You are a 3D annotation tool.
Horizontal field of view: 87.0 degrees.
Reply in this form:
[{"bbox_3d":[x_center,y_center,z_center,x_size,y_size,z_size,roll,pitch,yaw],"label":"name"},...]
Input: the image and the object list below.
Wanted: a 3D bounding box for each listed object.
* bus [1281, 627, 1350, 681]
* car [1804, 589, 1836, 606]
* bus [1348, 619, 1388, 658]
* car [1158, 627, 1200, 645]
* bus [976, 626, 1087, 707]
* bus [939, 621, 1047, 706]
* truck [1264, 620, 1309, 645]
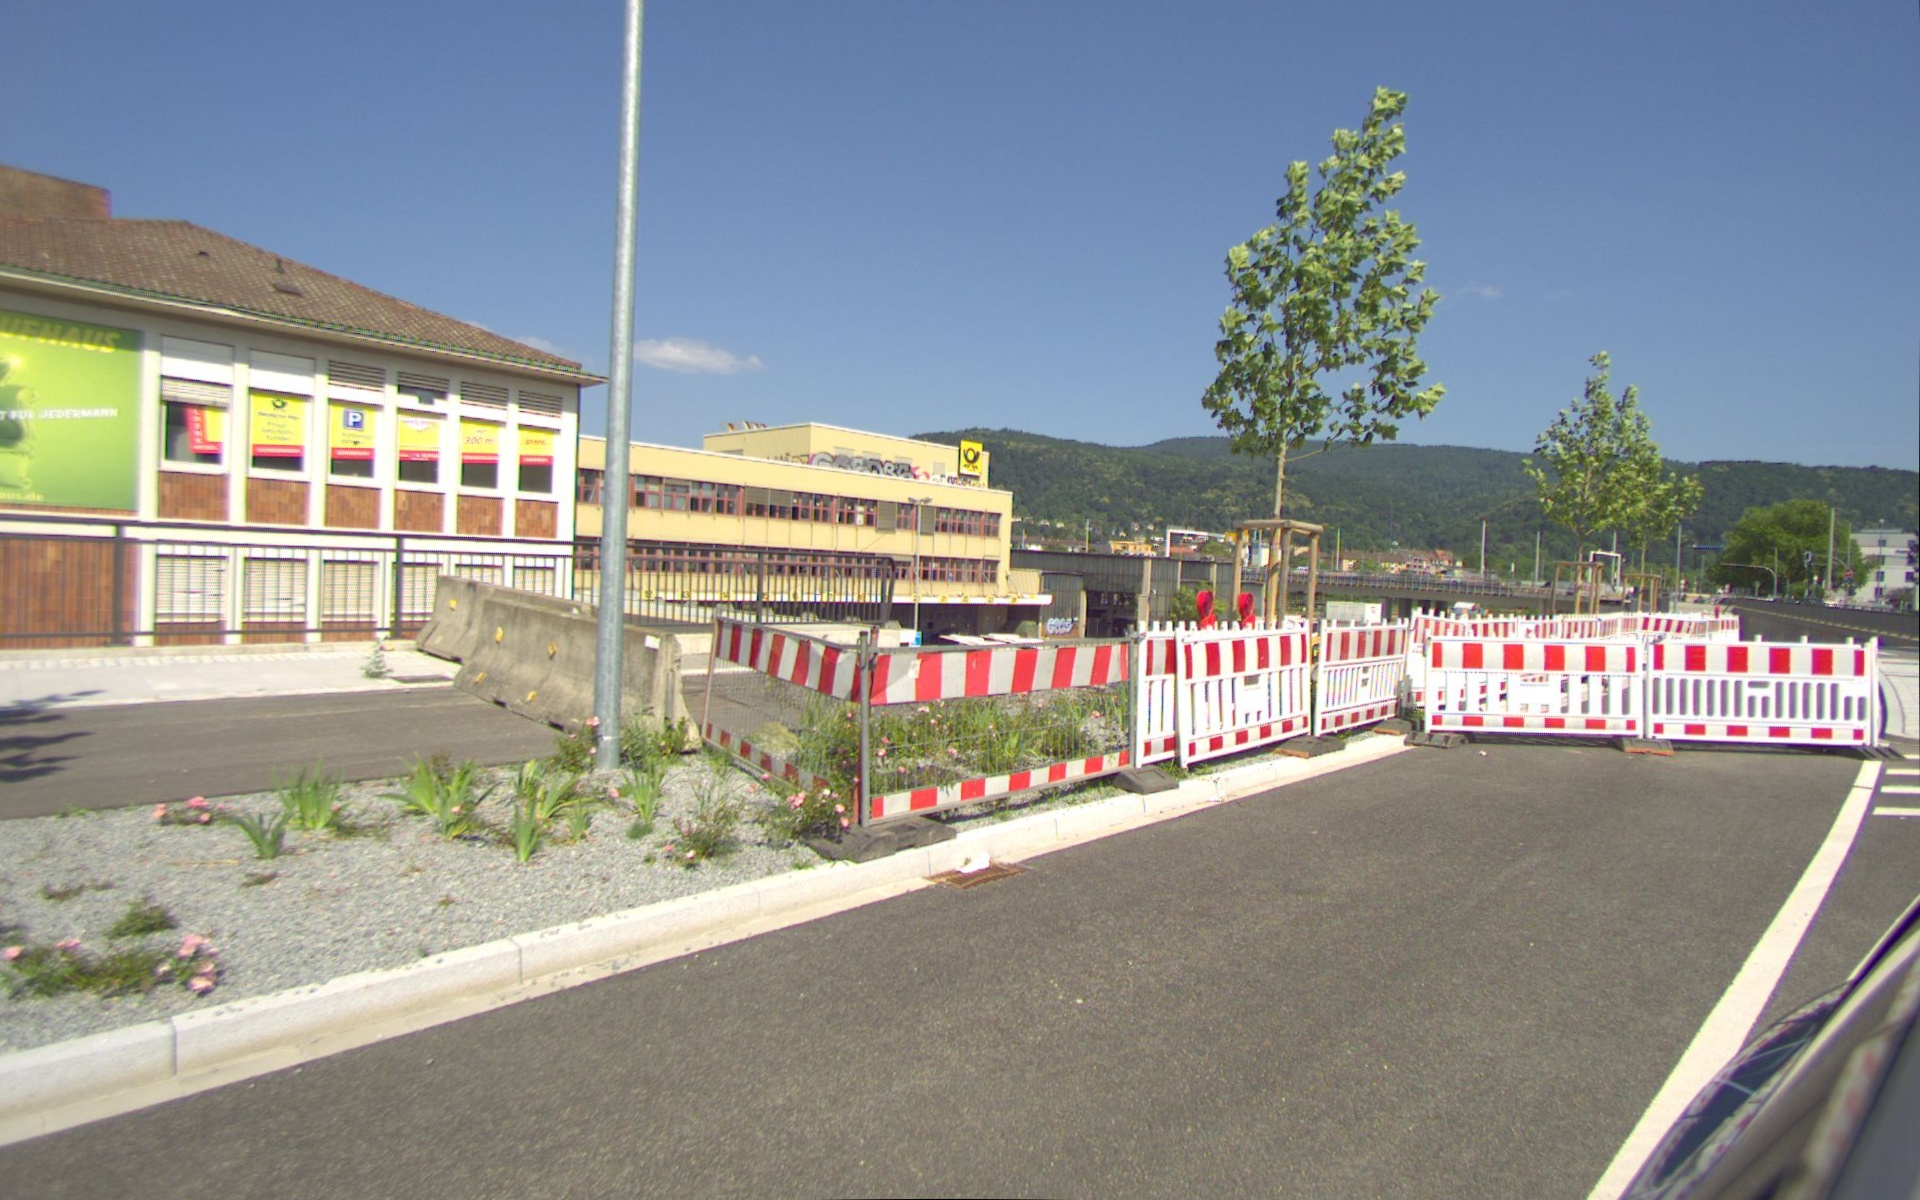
[{"bbox_3d":[29.871,4.358,84.603,2.533,3.574,12.393,2,2,33],"label":"bus"},{"bbox_3d":[81.637,-0.220,96.135,1.607,1.459,3.728,3,2,30],"label":"car"},{"bbox_3d":[45.362,4.138,112.386,2.529,3.574,12.413,2,2,29],"label":"bus"},{"bbox_3d":[24.517,4.027,113.519,4.355,1.604,1.719,3,2,43],"label":"car"},{"bbox_3d":[4.472,4.218,69.588,2.609,3.810,17.516,1,2,-13],"label":"bus"},{"bbox_3d":[1.685,3.712,64.766,2.609,3.810,17.166,1,2,-13],"label":"bus"},{"bbox_3d":[41.103,4.005,127.339,1.994,2.791,8.262,2,2,43],"label":"truck"}]
